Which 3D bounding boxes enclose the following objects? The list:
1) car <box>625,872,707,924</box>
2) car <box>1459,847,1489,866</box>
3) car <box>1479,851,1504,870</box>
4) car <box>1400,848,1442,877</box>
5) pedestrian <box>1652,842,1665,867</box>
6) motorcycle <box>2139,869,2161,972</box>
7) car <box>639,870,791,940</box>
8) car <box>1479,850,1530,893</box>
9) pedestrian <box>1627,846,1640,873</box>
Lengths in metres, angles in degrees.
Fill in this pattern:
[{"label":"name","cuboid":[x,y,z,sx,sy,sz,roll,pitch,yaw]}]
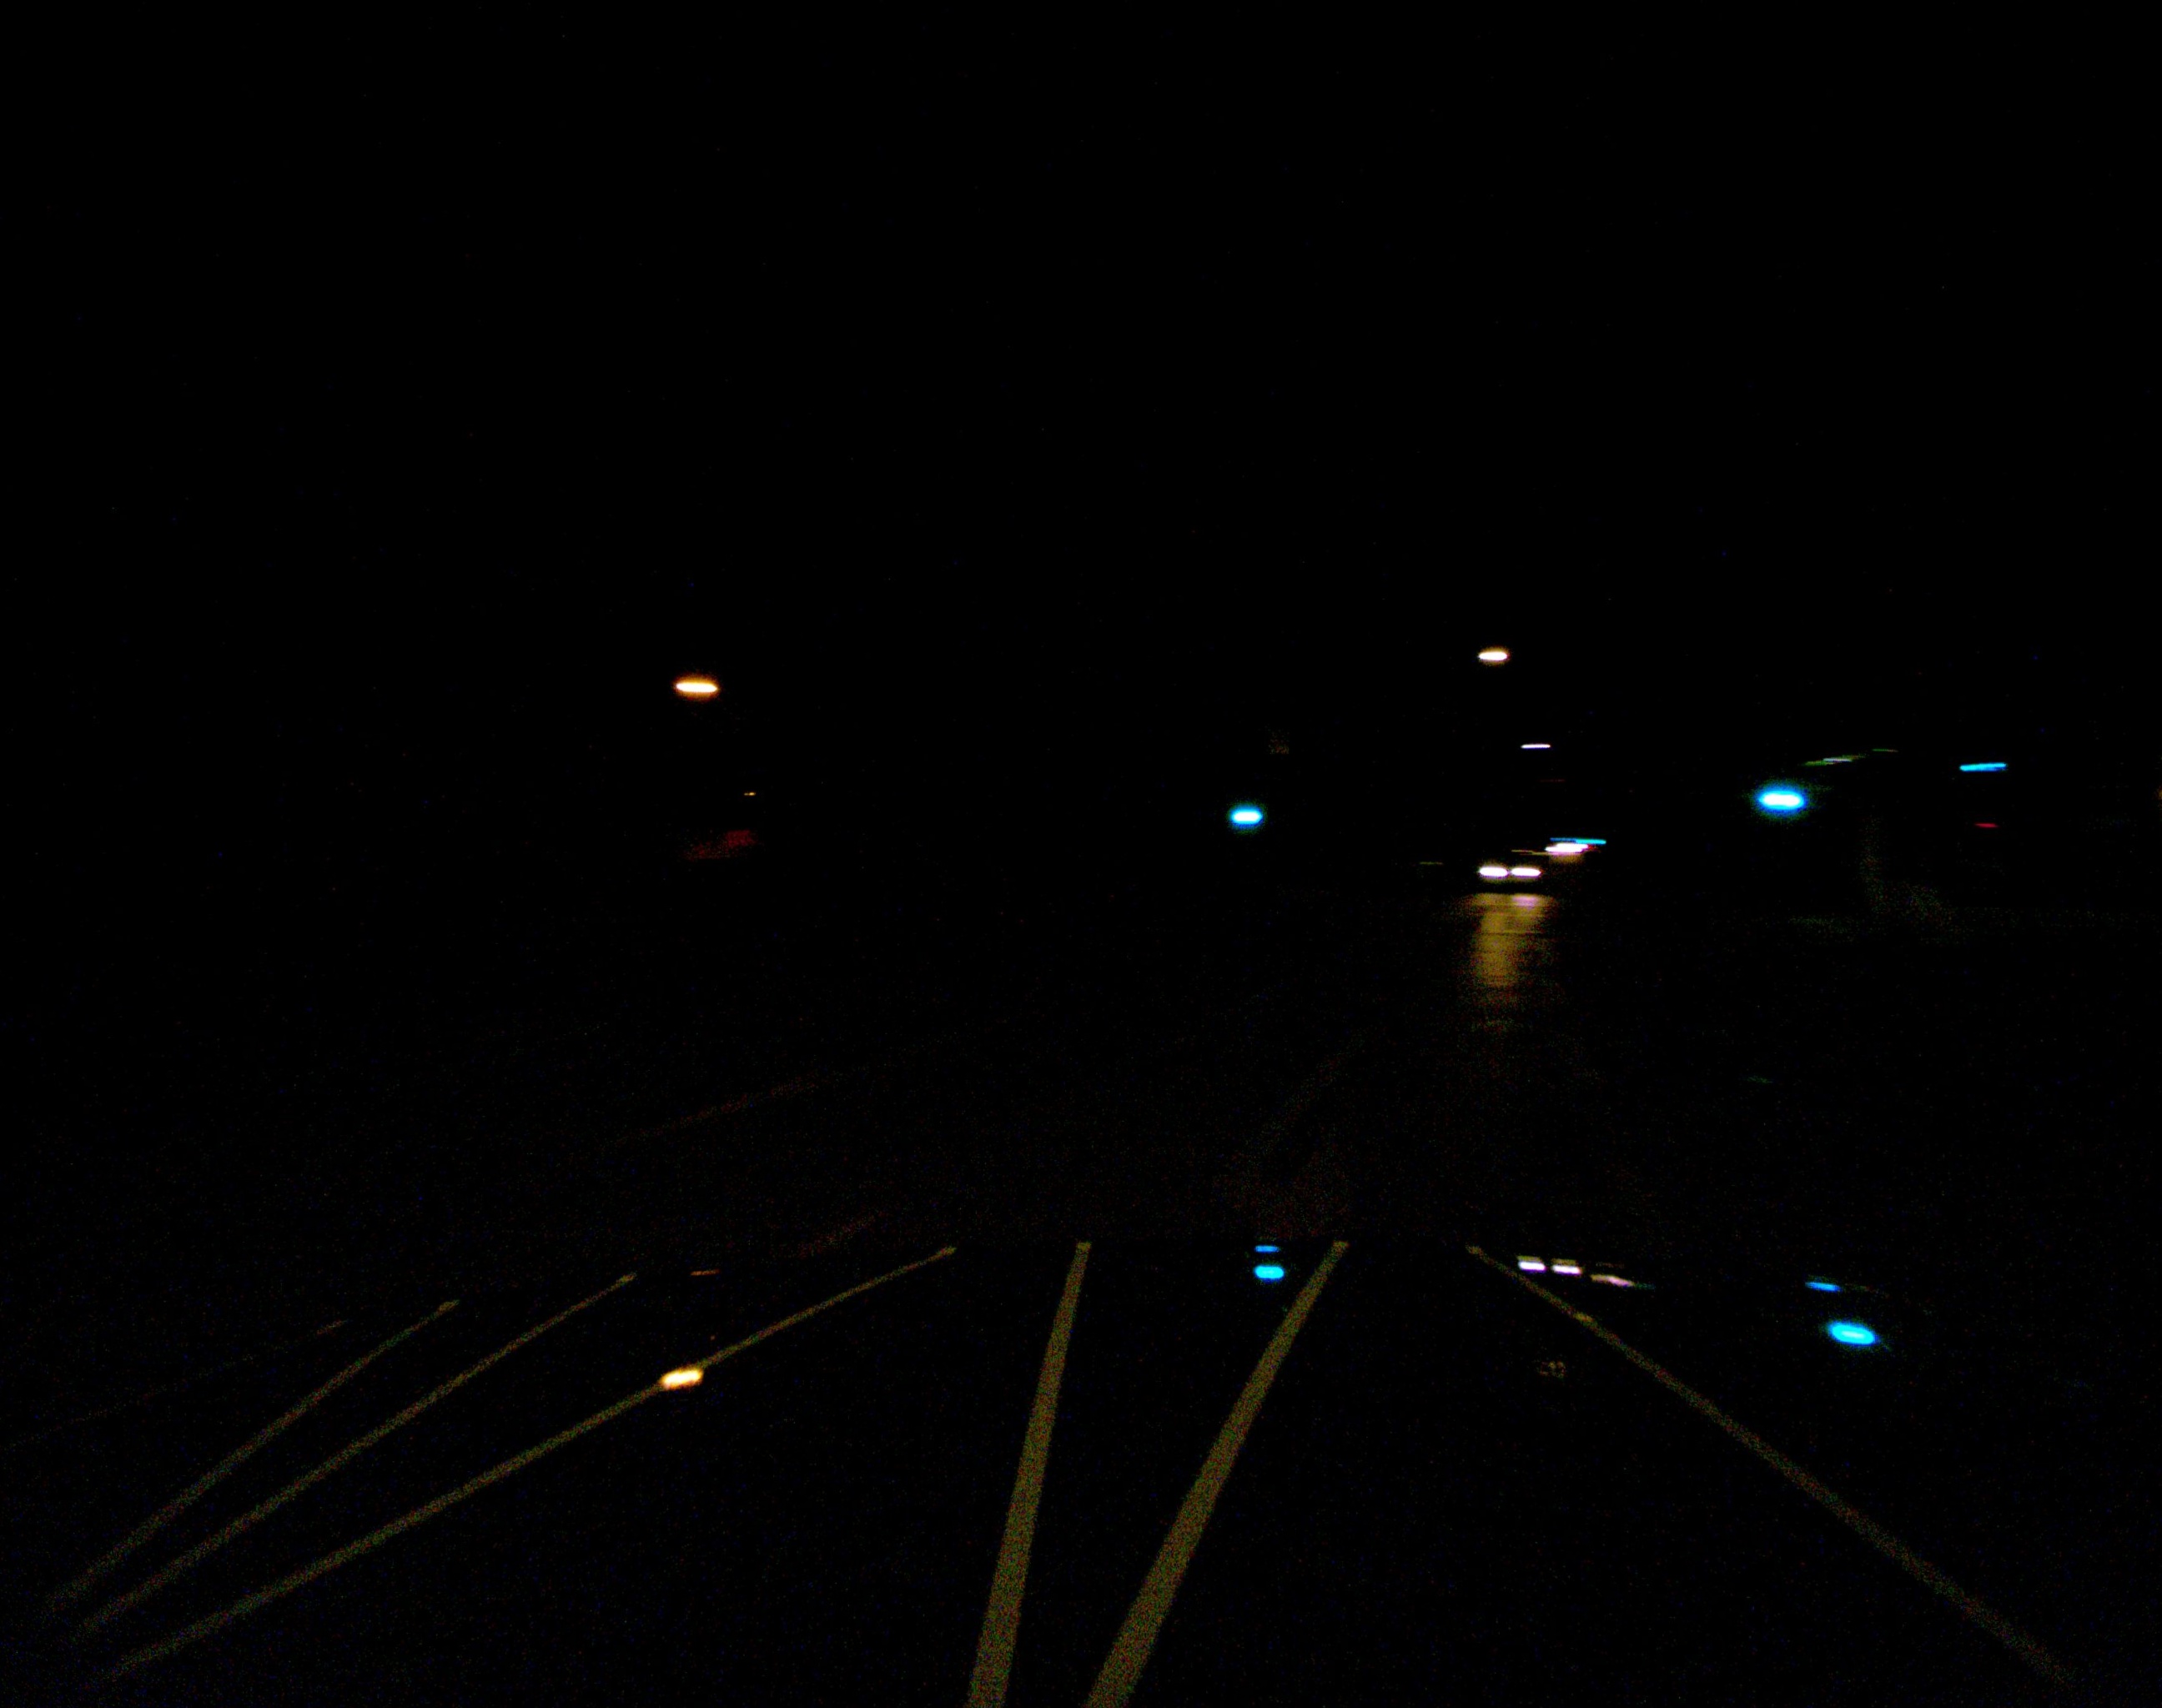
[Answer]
[{"label":"car","cuboid":[-13.459,1.348,24.536,1.882,1.379,4.067,-4,1,-34]},{"label":"car","cuboid":[29.541,0.161,57.049,1.532,1.407,3.415,1,1,35]},{"label":"car","cuboid":[36.925,0.559,68.333,1.532,1.583,3.563,1,1,35]},{"label":"car","cuboid":[18.647,0.427,41.644,1.623,1.485,3.415,1,1,32]},{"label":"pedestrian","cuboid":[35.429,0.033,46.602,0.560,1.521,0.591,-1,0,34]},{"label":"motorcycle","cuboid":[13.427,0.790,8.336,0.618,1.222,2.038,-2,0,-11]},{"label":"car","cuboid":[-9.676,1.262,19.959,4.243,1.546,2.057,-2,1,42]},{"label":"car","cuboid":[16.234,0.647,29.072,1.510,1.492,3.055,-3,0,32]},{"label":"pedestrian","cuboid":[34.171,0.330,46.981,0.648,1.632,0.749,-1,0,36]}]
